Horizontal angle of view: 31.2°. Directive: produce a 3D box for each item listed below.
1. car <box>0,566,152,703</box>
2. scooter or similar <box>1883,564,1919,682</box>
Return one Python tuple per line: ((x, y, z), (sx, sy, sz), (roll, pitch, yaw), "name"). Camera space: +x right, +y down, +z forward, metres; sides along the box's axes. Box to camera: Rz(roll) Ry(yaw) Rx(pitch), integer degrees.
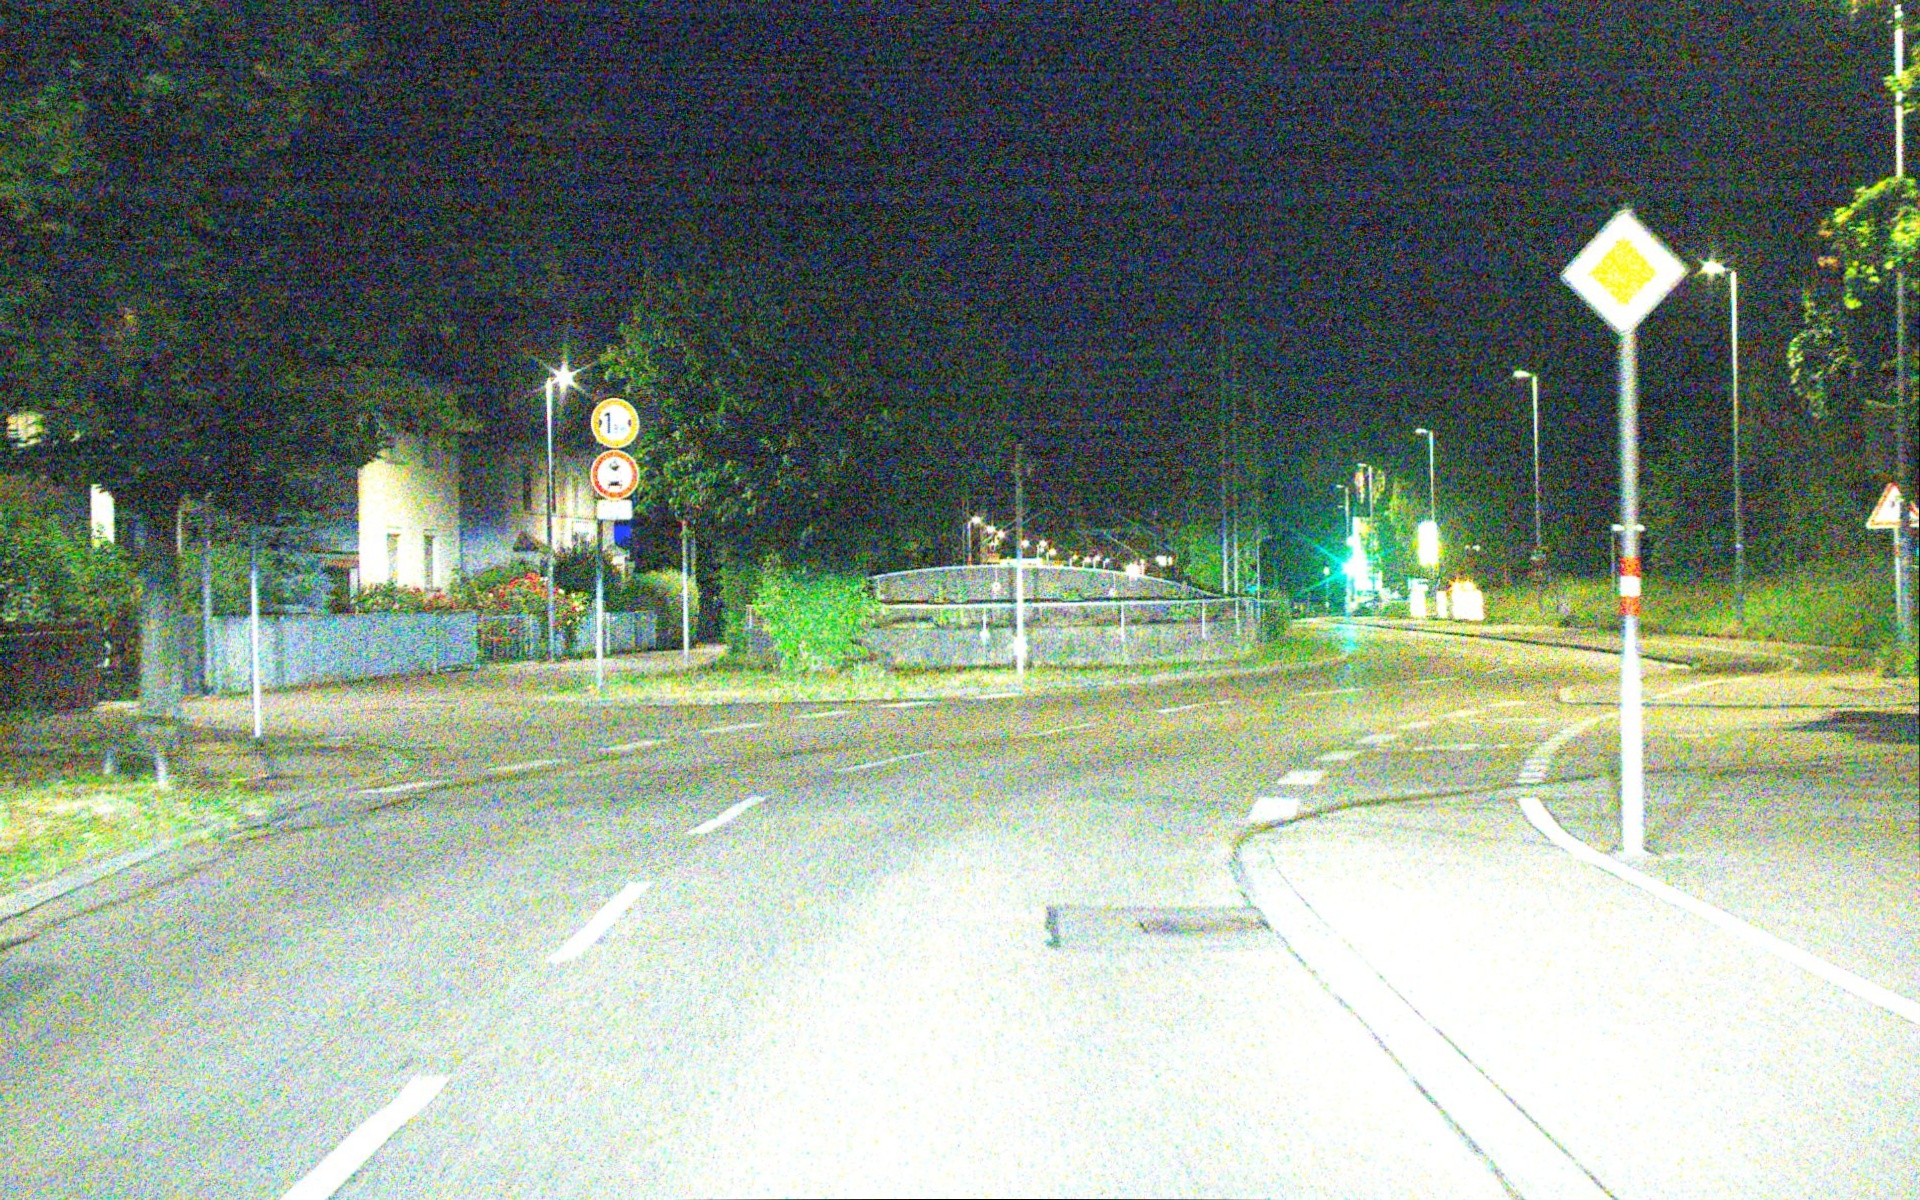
((-12.076, 0.426, 42.379), (3.716, 1.621, 1.781), (-1, 0, 19), "car")
((10.745, 0.246, 37.913), (0.611, 1.277, 1.690), (0, 1, -2), "scooter or similar")
